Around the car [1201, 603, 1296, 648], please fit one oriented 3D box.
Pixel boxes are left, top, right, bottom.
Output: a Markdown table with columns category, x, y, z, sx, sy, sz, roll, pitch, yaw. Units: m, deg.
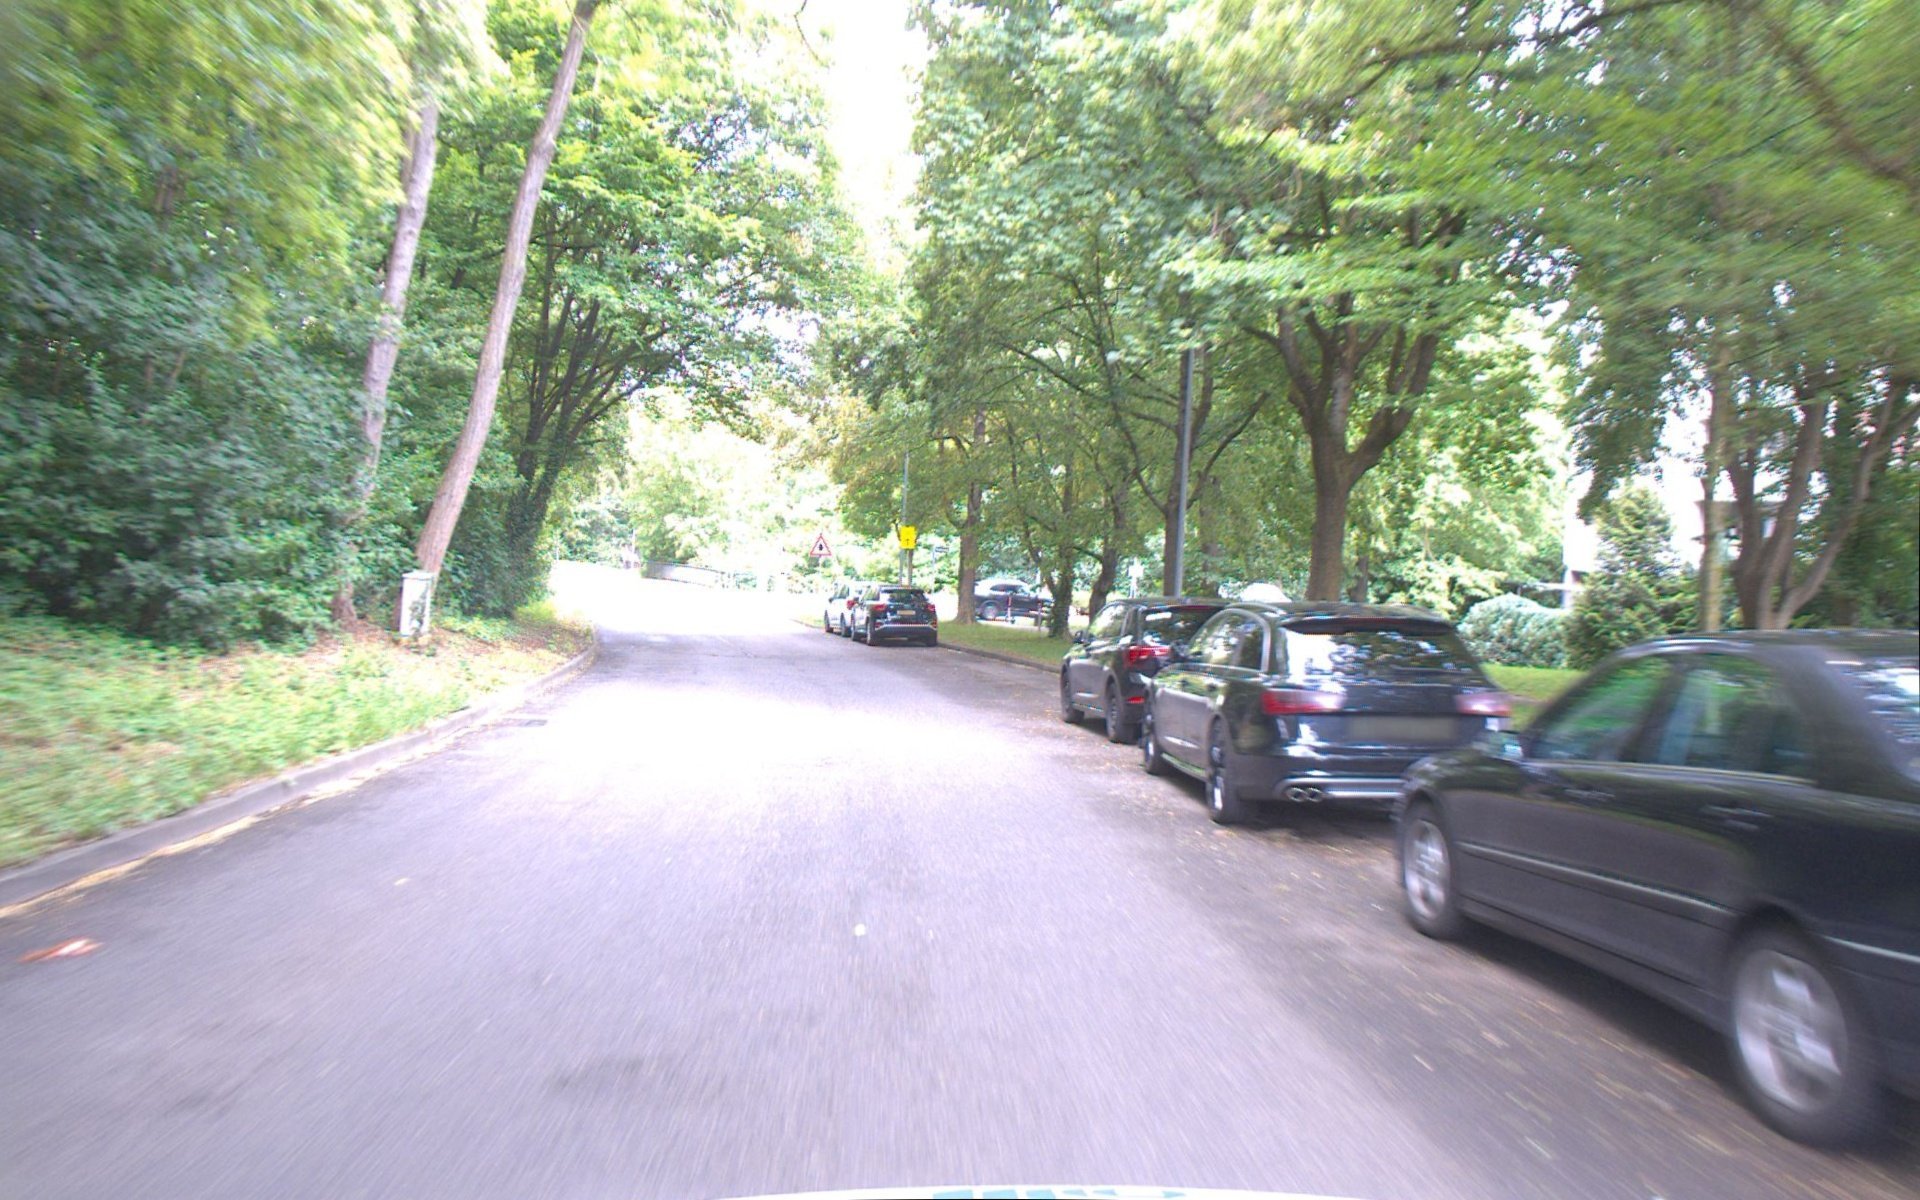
| category | x | y | z | sx | sy | sz | roll | pitch | yaw |
| --- | --- | --- | --- | --- | --- | --- | --- | --- | --- |
| car | 11.654 | 1.015 | 66.889 | 3.445 | 1.597 | 1.832 | 3 | 1 | -1 |

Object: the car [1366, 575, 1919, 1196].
| category | x | y | z | sx | sy | sz | roll | pitch | yaw |
| --- | --- | --- | --- | --- | --- | --- | --- | --- | --- |
| car | 2.967 | 0.688 | 5.907 | 1.558 | 1.491 | 4.311 | 0 | 1 | -6 |

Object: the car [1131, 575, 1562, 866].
| category | x | y | z | sx | sy | sz | roll | pitch | yaw |
| --- | --- | --- | --- | --- | --- | --- | --- | --- | --- |
| car | 2.533 | 0.681 | 12.147 | 1.875 | 1.639 | 4.733 | 2 | 1 | -2 |

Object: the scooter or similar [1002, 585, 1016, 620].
| category | x | y | z | sx | sy | sz | roll | pitch | yaw |
| --- | --- | --- | --- | --- | --- | --- | --- | --- | --- |
| scooter or similar | 1.924 | 0.096 | 65.033 | 0.278 | 1.309 | 1.105 | 2 | 1 | -11 |

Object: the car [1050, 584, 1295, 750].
| category | x | y | z | sx | sy | sz | roll | pitch | yaw |
| --- | --- | --- | --- | --- | --- | --- | --- | --- | --- |
| car | 2.145 | 0.633 | 17.749 | 1.650 | 1.490 | 3.892 | 2 | 1 | -7 |

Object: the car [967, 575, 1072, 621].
| category | x | y | z | sx | sy | sz | roll | pitch | yaw |
| --- | --- | --- | --- | --- | --- | --- | --- | --- | --- |
| car | 2.441 | -0.080 | 68.873 | 4.139 | 1.715 | 1.797 | 2 | 1 | -5 |

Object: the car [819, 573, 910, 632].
| category | x | y | z | sx | sy | sz | roll | pitch | yaw |
| --- | --- | --- | --- | --- | --- | --- | --- | --- | --- |
| car | -2.763 | 0.044 | 47.246 | 1.745 | 1.549 | 3.764 | 2 | 1 | -17 |

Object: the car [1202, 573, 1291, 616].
| category | x | y | z | sx | sy | sz | roll | pitch | yaw |
| --- | --- | --- | --- | --- | --- | --- | --- | --- | --- |
| car | 14.866 | -0.270 | 85.911 | 4.128 | 2.048 | 1.996 | 2 | 1 | -9 |

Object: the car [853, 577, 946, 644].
| category | x | y | z | sx | sy | sz | roll | pitch | yaw |
| --- | --- | --- | --- | --- | --- | --- | --- | --- | --- |
| car | -1.631 | 0.238 | 42.988 | 1.742 | 1.549 | 4.172 | 2 | 1 | -11 |

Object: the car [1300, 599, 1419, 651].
| category | x | y | z | sx | sy | sz | roll | pitch | yaw |
| --- | --- | --- | --- | --- | --- | --- | --- | --- | --- |
| car | 16.313 | 1.006 | 67.619 | 4.311 | 1.880 | 1.831 | 3 | 1 | -5 |
